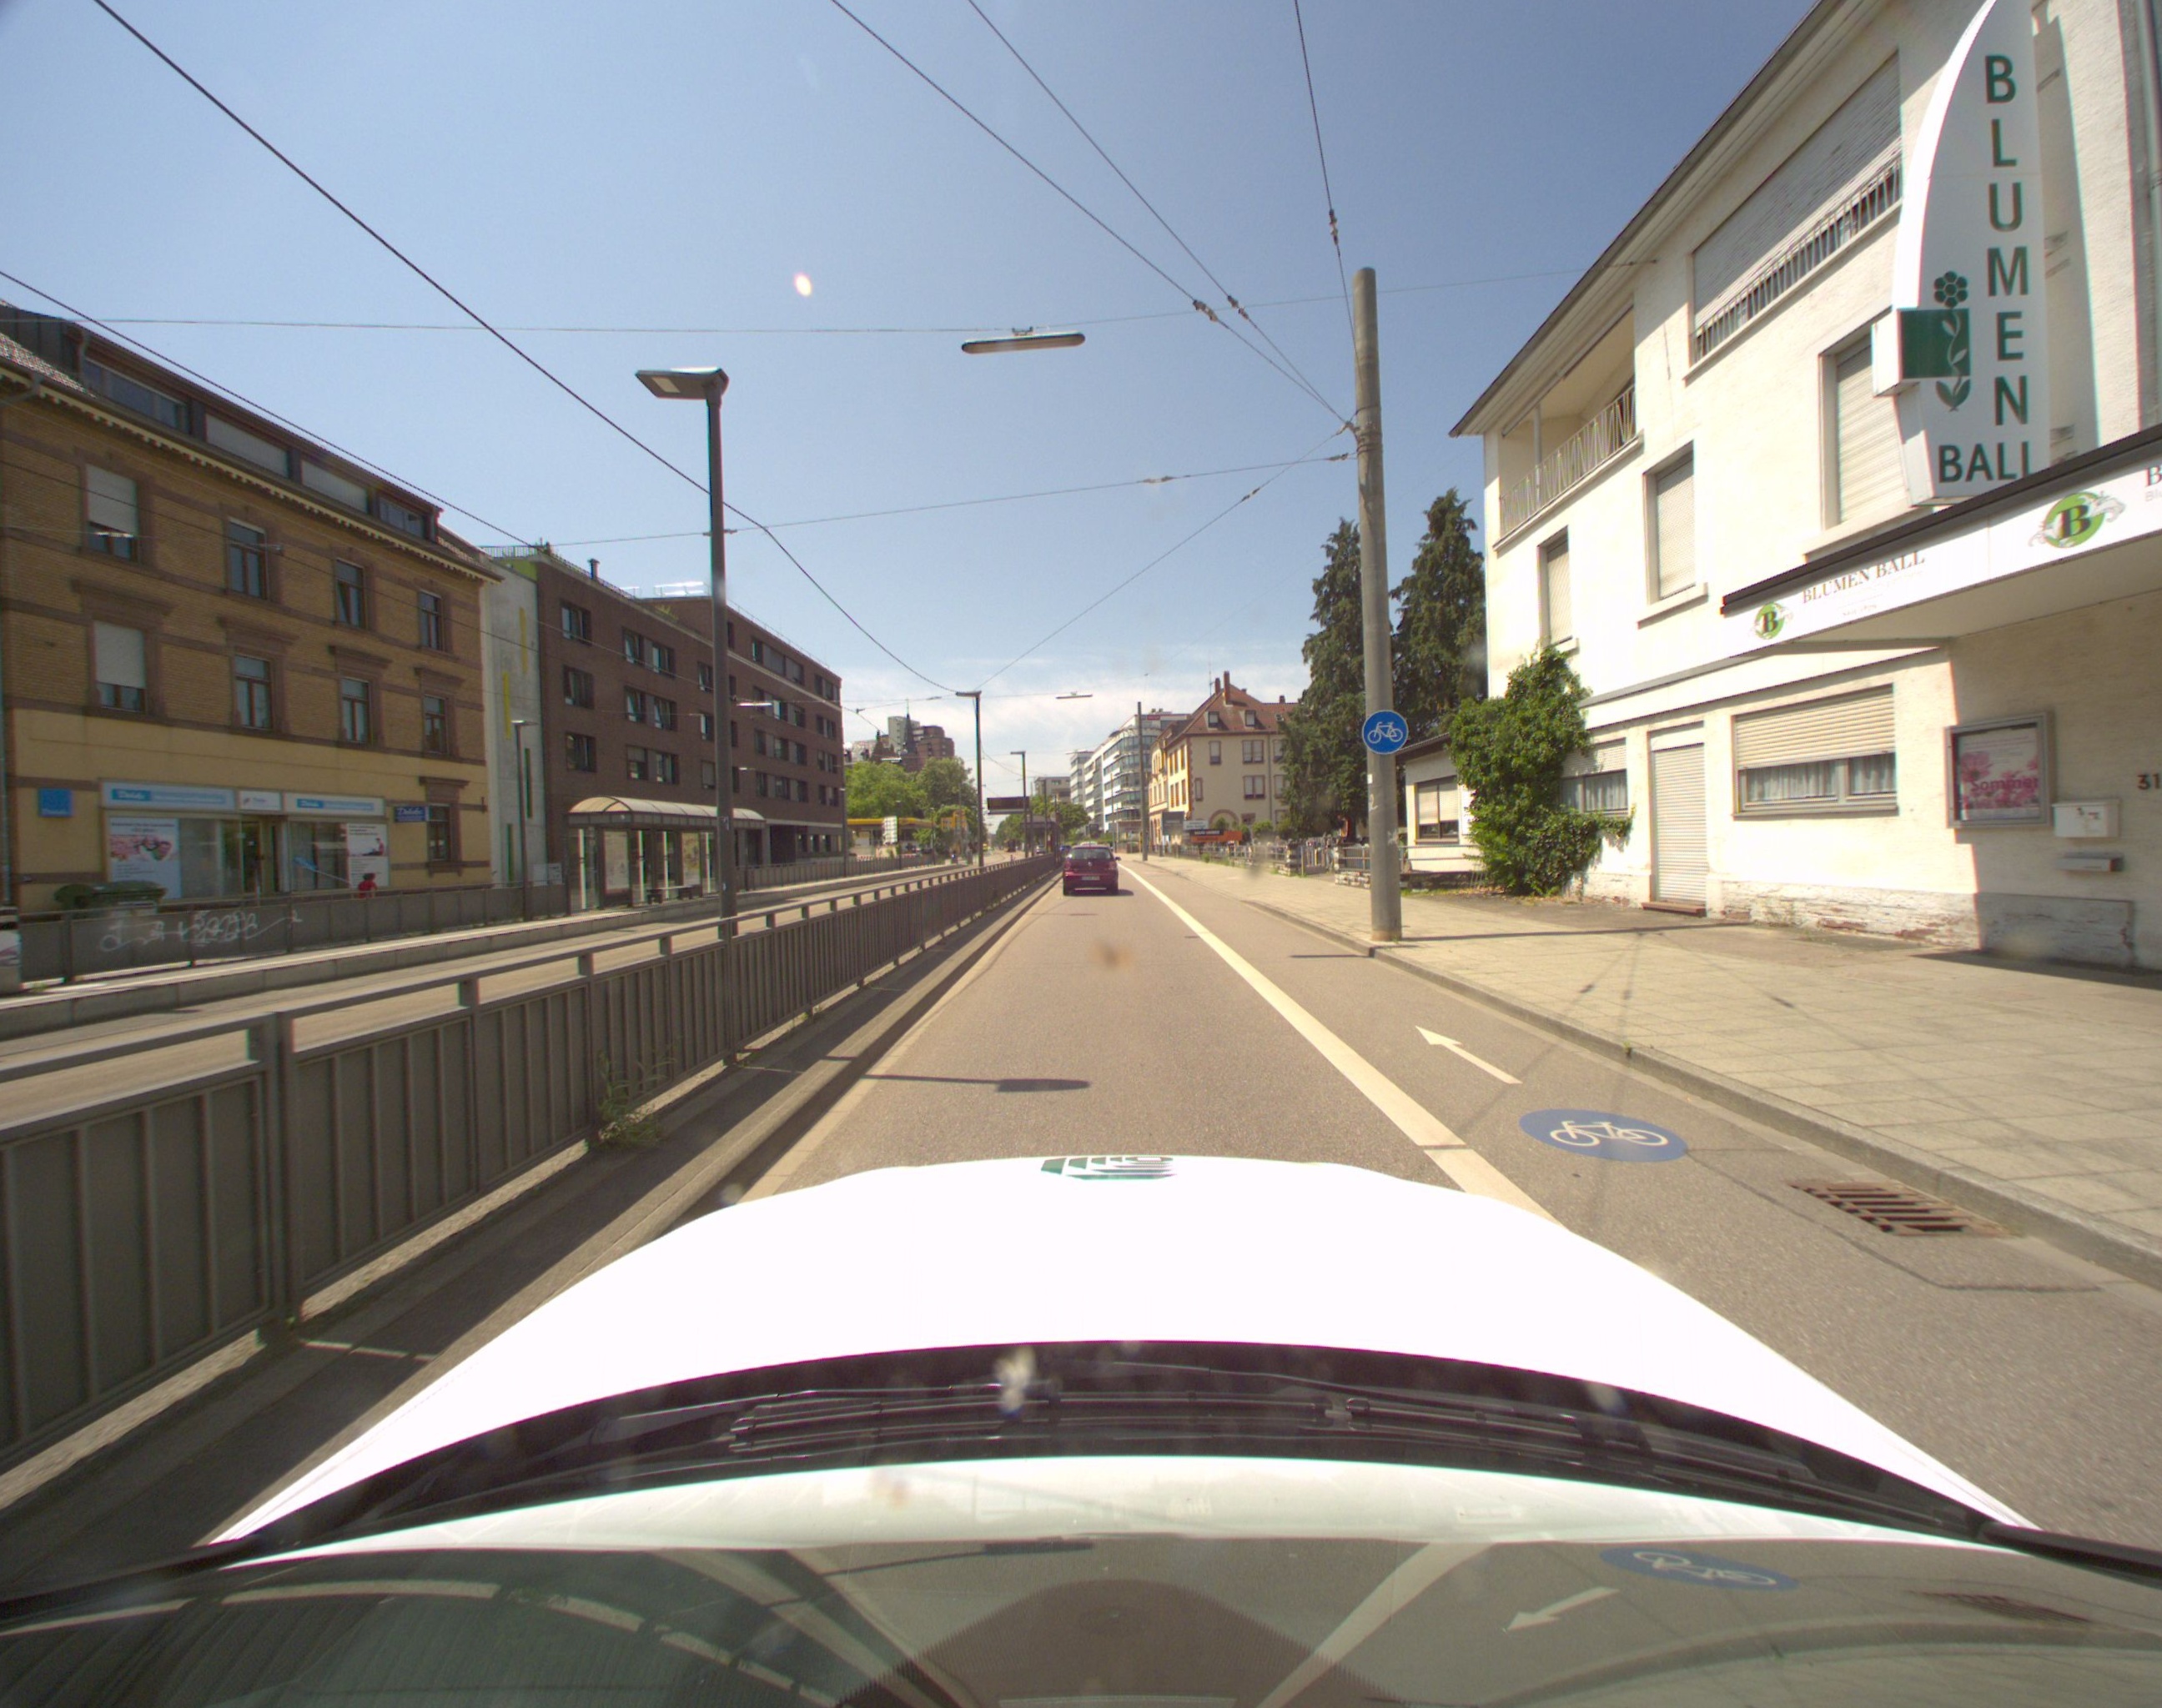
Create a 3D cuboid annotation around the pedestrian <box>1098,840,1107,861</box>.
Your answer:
[{"bbox_3d":[2.007,-0.342,75.474,0.742,1.836,0.791,-3,1,-2],"label":"pedestrian"}]

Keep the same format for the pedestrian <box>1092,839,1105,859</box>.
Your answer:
[{"bbox_3d":[1.638,-0.446,77.054,1.166,1.836,0.791,-3,1,-2],"label":"pedestrian"}]

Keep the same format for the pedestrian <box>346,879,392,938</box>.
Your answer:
[{"bbox_3d":[-19.878,1.501,22.731,0.612,1.560,0.640,-3,1,1],"label":"pedestrian"}]

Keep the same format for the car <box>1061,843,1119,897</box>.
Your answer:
[{"bbox_3d":[0.284,0.434,24.418,1.556,1.453,3.062,-3,1,1],"label":"car"}]

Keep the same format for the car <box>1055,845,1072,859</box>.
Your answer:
[{"bbox_3d":[-2.175,-0.327,103.113,1.987,1.624,4.631,-3,1,0],"label":"car"}]

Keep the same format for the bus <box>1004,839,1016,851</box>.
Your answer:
[{"bbox_3d":[-18.908,-2.439,218.058,2.147,3.002,6.544,-3,1,-13],"label":"bus"}]

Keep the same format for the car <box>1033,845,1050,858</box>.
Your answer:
[{"bbox_3d":[-6.452,-0.420,132.108,1.996,1.848,3.982,-3,1,-14],"label":"car"}]

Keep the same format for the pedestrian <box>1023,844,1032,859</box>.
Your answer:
[{"bbox_3d":[-7.230,-0.390,110.546,1.105,2.013,1.039,-2,0,2],"label":"pedestrian"}]

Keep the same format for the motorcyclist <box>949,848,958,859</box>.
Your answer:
[{"bbox_3d":[-14.127,-0.033,90.486,0.846,1.139,0.634,-3,1,1],"label":"motorcyclist"}]

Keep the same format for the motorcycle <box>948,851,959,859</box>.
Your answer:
[{"bbox_3d":[-14.141,0.150,90.416,0.869,0.806,1.910,-3,1,1],"label":"motorcycle"}]
